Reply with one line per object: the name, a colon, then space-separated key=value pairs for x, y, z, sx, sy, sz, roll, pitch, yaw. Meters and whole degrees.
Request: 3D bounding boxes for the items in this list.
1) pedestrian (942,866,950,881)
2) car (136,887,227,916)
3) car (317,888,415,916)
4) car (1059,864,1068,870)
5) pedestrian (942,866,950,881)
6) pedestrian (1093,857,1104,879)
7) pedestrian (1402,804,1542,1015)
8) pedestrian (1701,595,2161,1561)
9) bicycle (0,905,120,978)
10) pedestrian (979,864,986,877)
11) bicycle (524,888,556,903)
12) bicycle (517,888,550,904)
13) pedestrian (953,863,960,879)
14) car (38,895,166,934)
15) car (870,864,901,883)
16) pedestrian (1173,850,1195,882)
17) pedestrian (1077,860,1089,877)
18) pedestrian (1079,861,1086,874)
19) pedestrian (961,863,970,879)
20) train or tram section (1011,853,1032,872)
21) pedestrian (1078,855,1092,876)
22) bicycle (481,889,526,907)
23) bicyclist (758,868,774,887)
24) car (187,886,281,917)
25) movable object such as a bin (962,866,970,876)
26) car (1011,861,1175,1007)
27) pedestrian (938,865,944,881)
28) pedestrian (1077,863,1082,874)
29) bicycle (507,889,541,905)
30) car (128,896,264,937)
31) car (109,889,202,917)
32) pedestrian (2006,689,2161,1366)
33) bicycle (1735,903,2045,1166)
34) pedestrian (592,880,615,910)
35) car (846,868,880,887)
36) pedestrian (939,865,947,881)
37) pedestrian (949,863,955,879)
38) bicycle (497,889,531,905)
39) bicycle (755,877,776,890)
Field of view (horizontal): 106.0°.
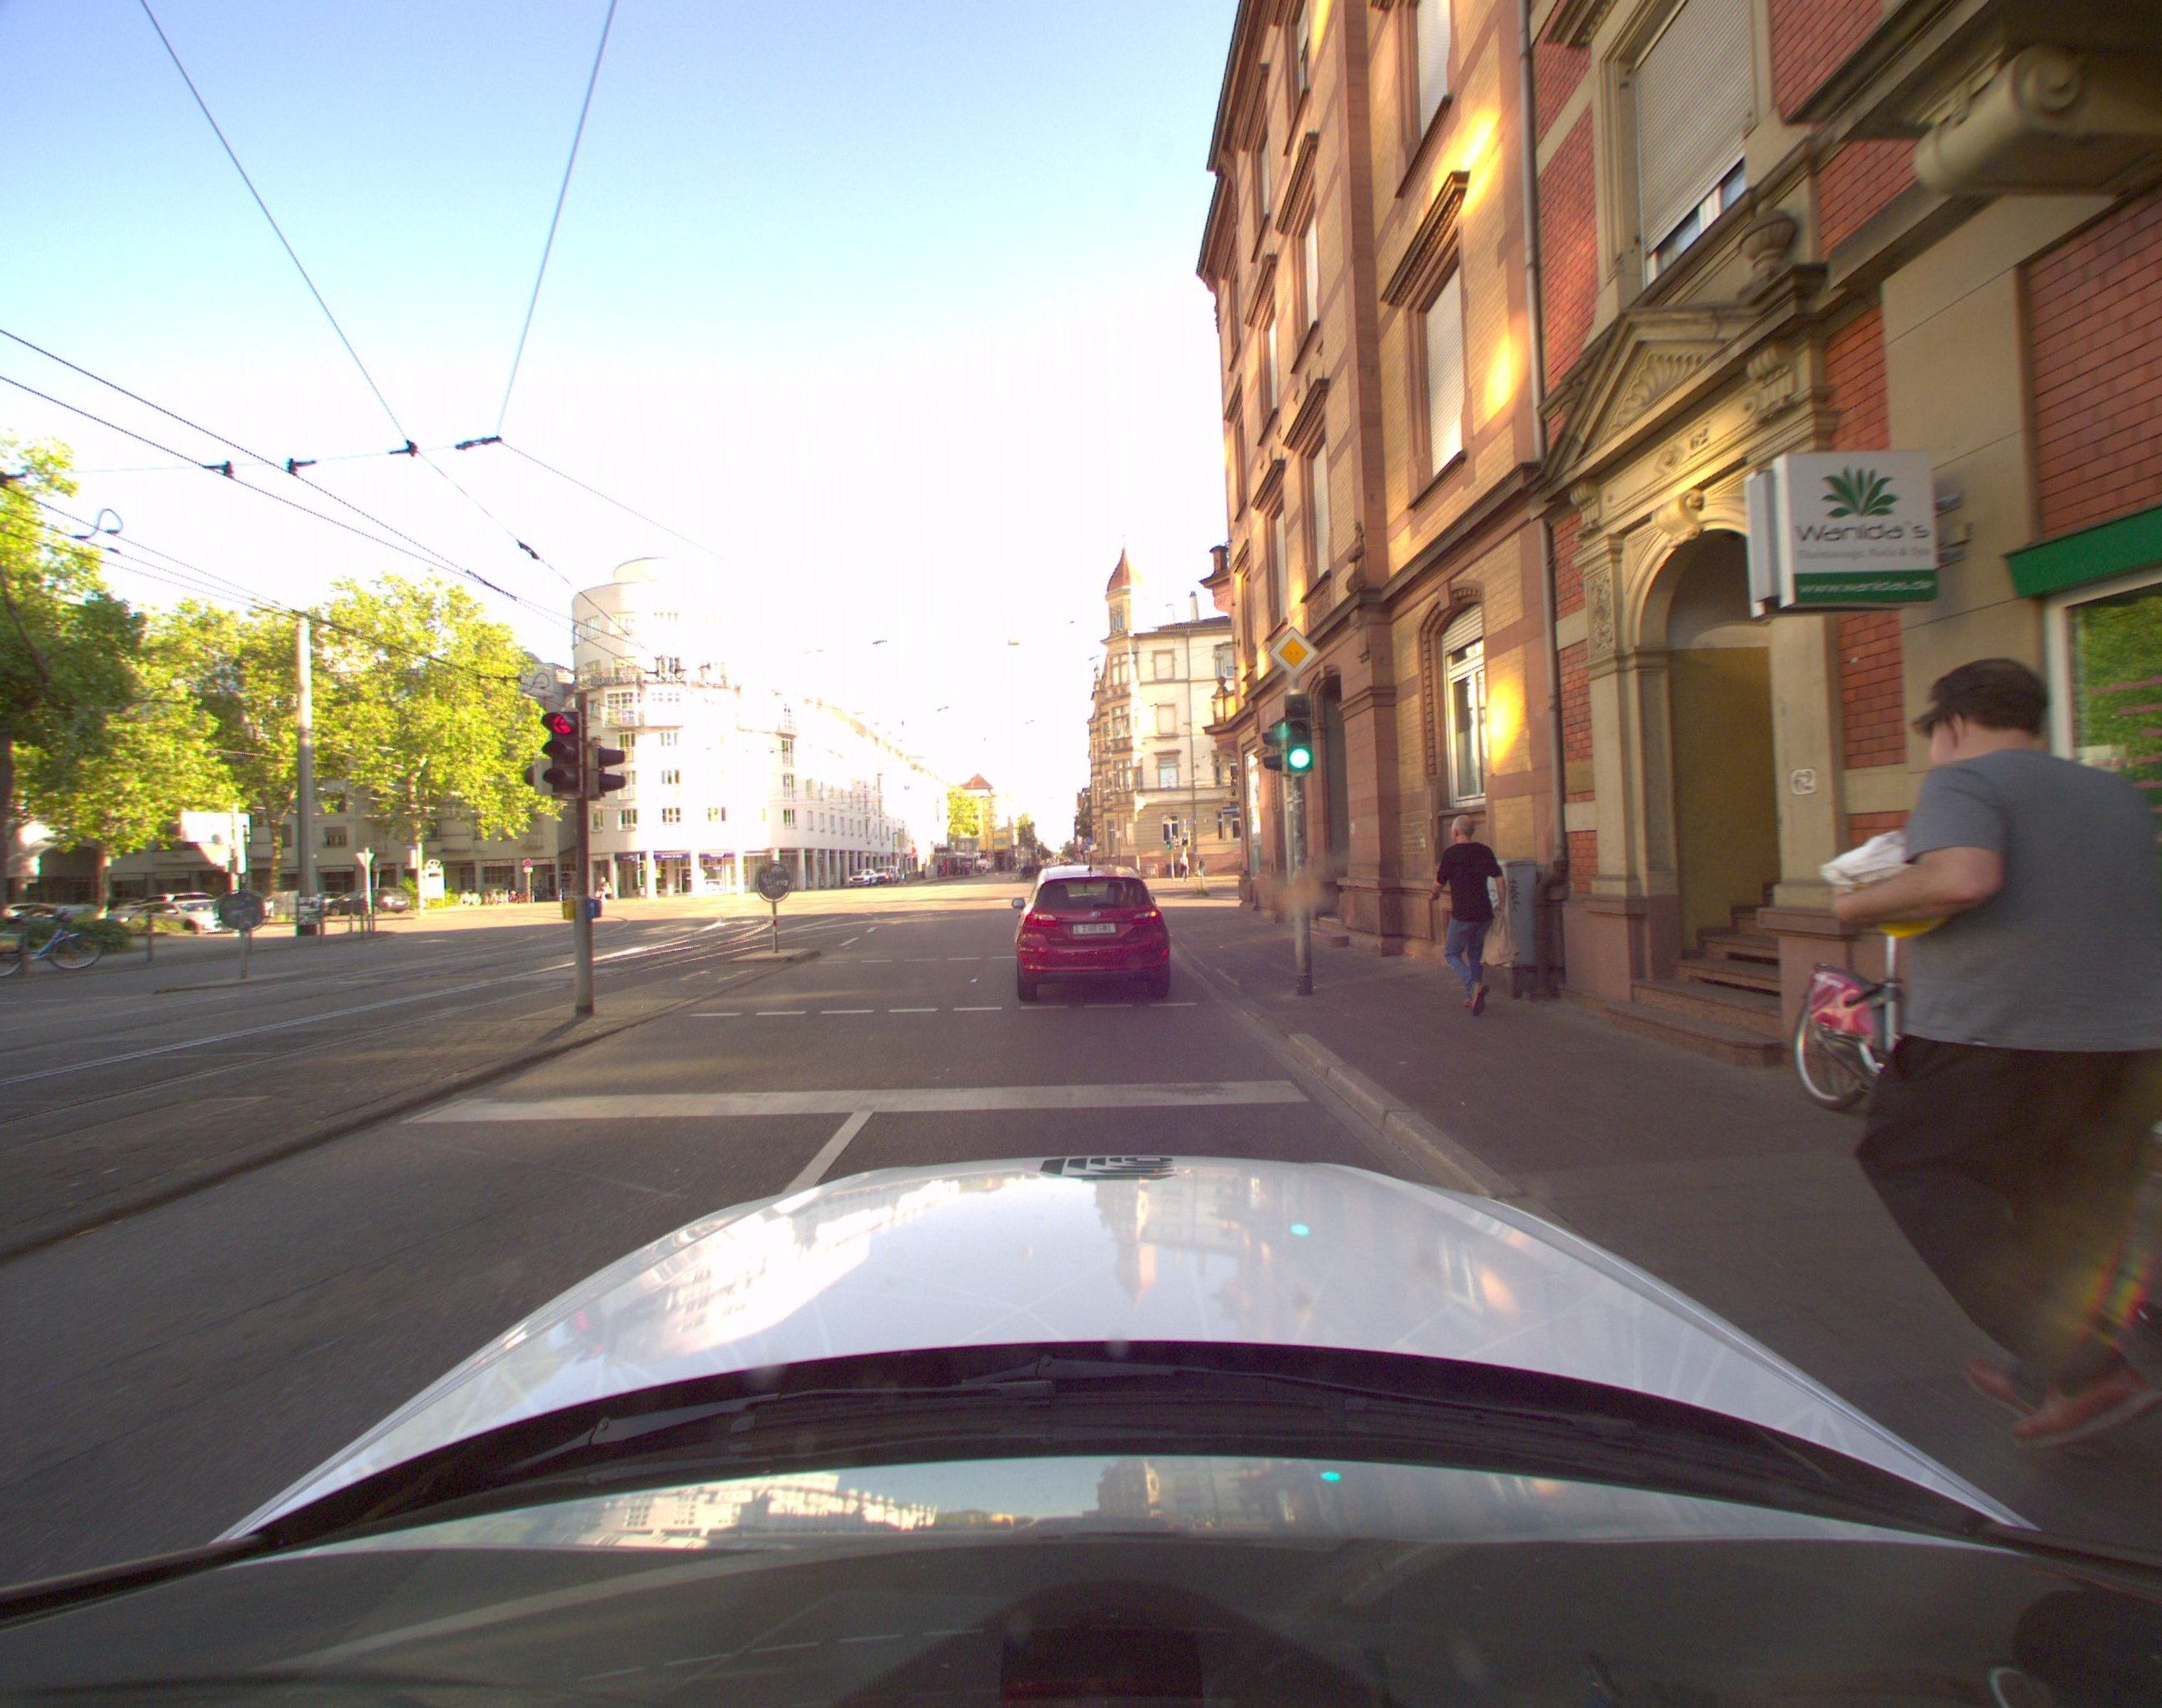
pedestrian: x=-15.513 y=2.293 z=93.435 sx=0.699 sy=1.691 sz=0.666 roll=-1 pitch=-1 yaw=-25
car: x=-60.612 y=3.180 z=54.989 sx=1.790 sy=1.715 sz=3.996 roll=-2 pitch=-1 yaw=-3
car: x=-44.426 y=2.965 z=50.642 sx=4.423 sy=1.421 sz=1.892 roll=-3 pitch=0 yaw=2
car: x=-4.029 y=2.980 z=186.026 sx=1.988 sy=1.449 sz=3.998 roll=-1 pitch=-1 yaw=-1
pedestrian: x=-15.245 y=2.166 z=91.677 sx=0.699 sy=1.691 sz=0.666 roll=-1 pitch=-1 yaw=-25
pedestrian: x=1.527 y=1.242 z=70.896 sx=0.799 sy=1.824 sz=0.797 roll=-4 pitch=0 yaw=-2
pedestrian: x=3.425 y=0.469 z=7.199 sx=0.773 sy=1.723 sz=0.754 roll=-3 pitch=-1 yaw=-1
pedestrian: x=2.282 y=0.426 z=2.004 sx=0.819 sy=1.894 sz=0.754 roll=-3 pitch=-1 yaw=-1
bicycle: x=-19.879 y=1.646 z=15.635 sx=0.578 sy=1.235 sz=1.858 roll=-1 pitch=-1 yaw=4
pedestrian: x=-14.941 y=2.533 z=123.270 sx=0.880 sy=1.905 sz=0.929 roll=-1 pitch=-1 yaw=-17
bicycle: x=-41.982 y=3.205 z=63.172 sx=1.935 sy=1.107 sz=0.819 roll=-2 pitch=-1 yaw=1
bicycle: x=-41.899 y=3.199 z=62.307 sx=1.935 sy=1.107 sz=0.819 roll=-2 pitch=-1 yaw=1
pedestrian: x=-15.019 y=2.003 z=98.016 sx=0.694 sy=1.905 sz=0.671 roll=-2 pitch=-1 yaw=-4
car: x=-42.864 y=2.646 z=35.675 sx=4.408 sy=1.421 sz=1.898 roll=-3 pitch=-1 yaw=15
car: x=-20.299 y=2.013 z=84.746 sx=1.988 sy=1.837 sz=5.343 roll=-2 pitch=-1 yaw=-2
pedestrian: x=6.057 y=0.710 z=48.125 sx=1.021 sy=1.807 sz=1.081 roll=-2 pitch=-1 yaw=-5
pedestrian: x=0.165 y=1.185 z=67.747 sx=0.711 sy=1.331 sz=0.801 roll=-4 pitch=-2 yaw=21
pedestrian: x=0.175 y=1.651 z=100.030 sx=0.760 sy=1.645 sz=0.832 roll=-4 pitch=0 yaw=-2
pedestrian: x=-14.104 y=2.033 z=99.682 sx=0.930 sy=1.905 sz=0.880 roll=-2 pitch=-1 yaw=-4
train or tram section: x=-11.271 y=1.658 z=155.782 sx=2.876 sy=3.490 sz=14.164 roll=-2 pitch=-1 yaw=0
pedestrian: x=0.342 y=0.948 z=68.571 sx=0.799 sy=1.721 sz=0.712 roll=-2 pitch=-2 yaw=-32
bicycle: x=-41.428 y=3.155 z=58.453 sx=2.440 sy=1.107 sz=0.933 roll=-2 pitch=-1 yaw=-15
bicyclist: x=-24.769 y=1.815 z=64.047 sx=0.839 sy=1.467 sz=0.895 roll=-2 pitch=-1 yaw=-3
car: x=-53.206 y=2.933 z=51.267 sx=1.790 sy=1.715 sz=3.996 roll=-2 pitch=-1 yaw=-3
movable object such as a bin: x=-14.952 y=2.169 z=105.946 sx=0.935 sy=1.287 sz=0.933 roll=-2 pitch=-1 yaw=-4
car: x=0.045 y=0.837 z=10.168 sx=1.688 sy=1.495 sz=3.576 roll=0 pitch=-1 yaw=-3
pedestrian: x=-15.003 y=2.073 z=87.279 sx=0.597 sy=1.692 sz=0.613 roll=-2 pitch=-1 yaw=-1
pedestrian: x=-0.223 y=2.369 z=133.781 sx=0.712 sy=1.774 sz=0.772 roll=-5 pitch=0 yaw=-4
bicycle: x=-41.776 y=3.190 z=61.079 sx=1.933 sy=1.107 sz=0.820 roll=-2 pitch=-1 yaw=3
car: x=-36.209 y=2.550 z=33.353 sx=4.408 sy=1.421 sz=1.898 roll=-3 pitch=-1 yaw=15
car: x=-62.777 y=3.289 z=55.333 sx=1.790 sy=1.715 sz=3.996 roll=-2 pitch=-1 yaw=-3
pedestrian: x=3.109 y=0.429 z=1.973 sx=0.773 sy=1.723 sz=0.754 roll=-3 pitch=-1 yaw=-1
bicycle: x=3.805 y=0.777 z=3.952 sx=0.342 sy=0.996 sz=1.243 roll=-3 pitch=-1 yaw=8
pedestrian: x=-29.044 y=2.486 z=49.496 sx=0.863 sy=1.681 sz=0.698 roll=-3 pitch=1 yaw=7
car: x=-20.127 y=2.180 z=75.402 sx=1.988 sy=1.620 sz=4.507 roll=-2 pitch=-1 yaw=-2
pedestrian: x=-15.129 y=2.116 z=89.306 sx=0.756 sy=1.733 sz=0.523 roll=-3 pitch=-2 yaw=40
pedestrian: x=-15.402 y=1.988 z=97.199 sx=0.694 sy=1.905 sz=0.671 roll=-2 pitch=-1 yaw=-4
bicycle: x=-41.844 y=3.187 z=60.090 sx=1.933 sy=1.107 sz=0.820 roll=-2 pitch=-1 yaw=3
bicycle: x=-24.764 y=2.320 z=64.030 sx=0.839 sy=0.927 sz=2.262 roll=-2 pitch=0 yaw=-3
